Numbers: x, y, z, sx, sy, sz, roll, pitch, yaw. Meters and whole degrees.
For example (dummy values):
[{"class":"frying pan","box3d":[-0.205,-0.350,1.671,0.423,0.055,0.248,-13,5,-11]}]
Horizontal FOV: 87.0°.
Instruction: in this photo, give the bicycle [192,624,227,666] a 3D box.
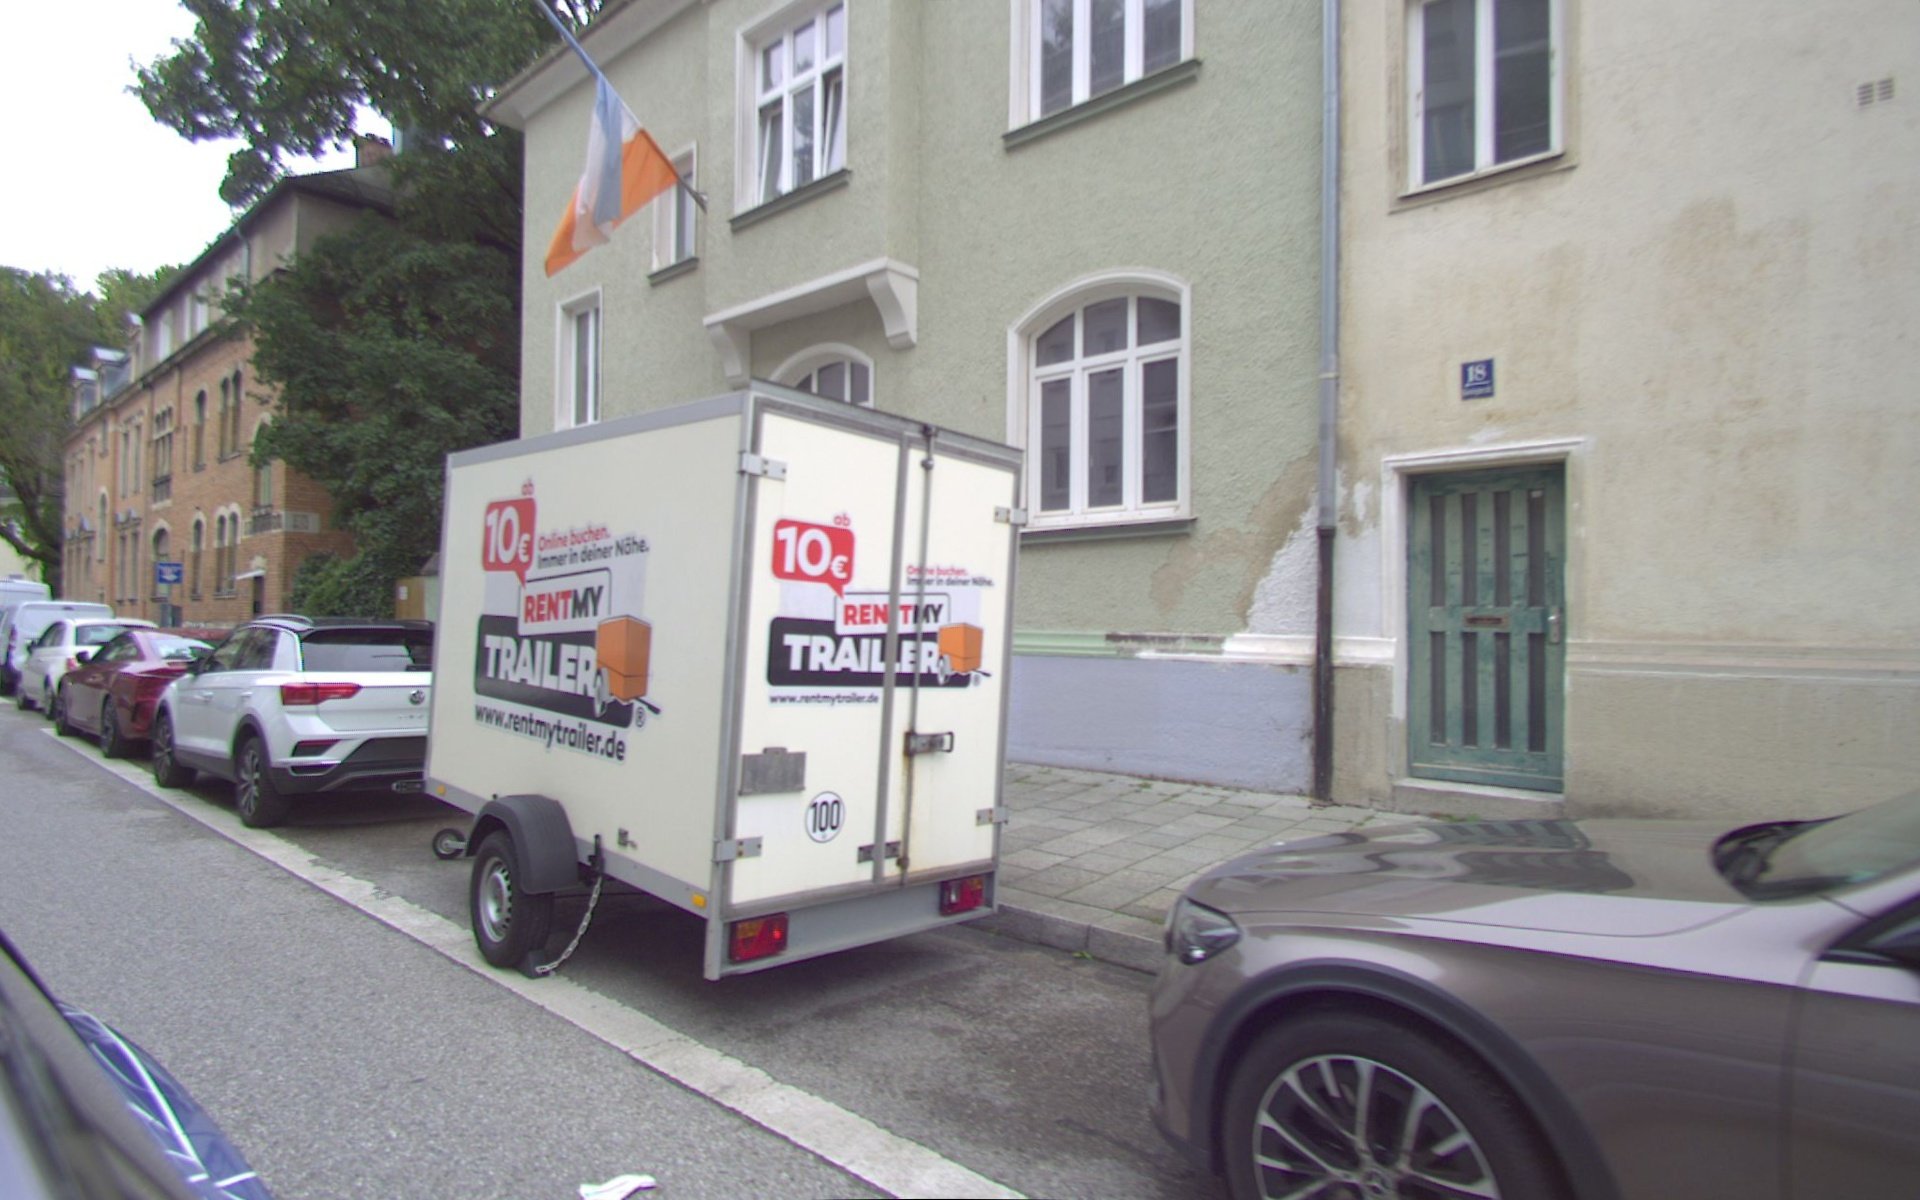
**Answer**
[{"class":"bicycle","box3d":[-20.388,1.215,27.480,1.470,1.093,0.430,0,0,40]}]

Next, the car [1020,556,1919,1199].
[{"class":"car","box3d":[2.647,0.735,1.616,5.091,1.553,1.843,-2,-4,43]}]

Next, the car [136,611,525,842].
[{"class":"car","box3d":[-5.569,0.920,8.750,4.104,1.542,1.662,-2,-3,41]}]

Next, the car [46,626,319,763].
[{"class":"car","box3d":[-9.545,1.032,12.290,4.400,1.378,1.728,-2,-3,41]}]

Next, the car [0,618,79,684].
[{"class":"car","box3d":[-21.955,1.156,23.441,4.163,1.431,1.697,-2,-3,41]}]

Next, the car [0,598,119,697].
[{"class":"car","box3d":[-18.341,0.928,20.169,4.247,1.769,1.697,-2,-3,41]}]

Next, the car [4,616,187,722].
[{"class":"car","box3d":[-13.605,1.027,15.873,3.518,1.479,1.610,-2,-3,41]}]

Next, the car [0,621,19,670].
[{"class":"car","box3d":[-30.034,1.362,30.687,3.790,1.426,1.746,-2,-3,41]}]

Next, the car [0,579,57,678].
[{"class":"car","box3d":[-26.073,0.768,27.086,5.228,2.495,2.090,-2,-3,41]}]

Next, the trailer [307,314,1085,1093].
[{"class":"trailer","box3d":[-1.768,0.403,5.554,4.578,2.490,1.953,-1,-5,44]}]
